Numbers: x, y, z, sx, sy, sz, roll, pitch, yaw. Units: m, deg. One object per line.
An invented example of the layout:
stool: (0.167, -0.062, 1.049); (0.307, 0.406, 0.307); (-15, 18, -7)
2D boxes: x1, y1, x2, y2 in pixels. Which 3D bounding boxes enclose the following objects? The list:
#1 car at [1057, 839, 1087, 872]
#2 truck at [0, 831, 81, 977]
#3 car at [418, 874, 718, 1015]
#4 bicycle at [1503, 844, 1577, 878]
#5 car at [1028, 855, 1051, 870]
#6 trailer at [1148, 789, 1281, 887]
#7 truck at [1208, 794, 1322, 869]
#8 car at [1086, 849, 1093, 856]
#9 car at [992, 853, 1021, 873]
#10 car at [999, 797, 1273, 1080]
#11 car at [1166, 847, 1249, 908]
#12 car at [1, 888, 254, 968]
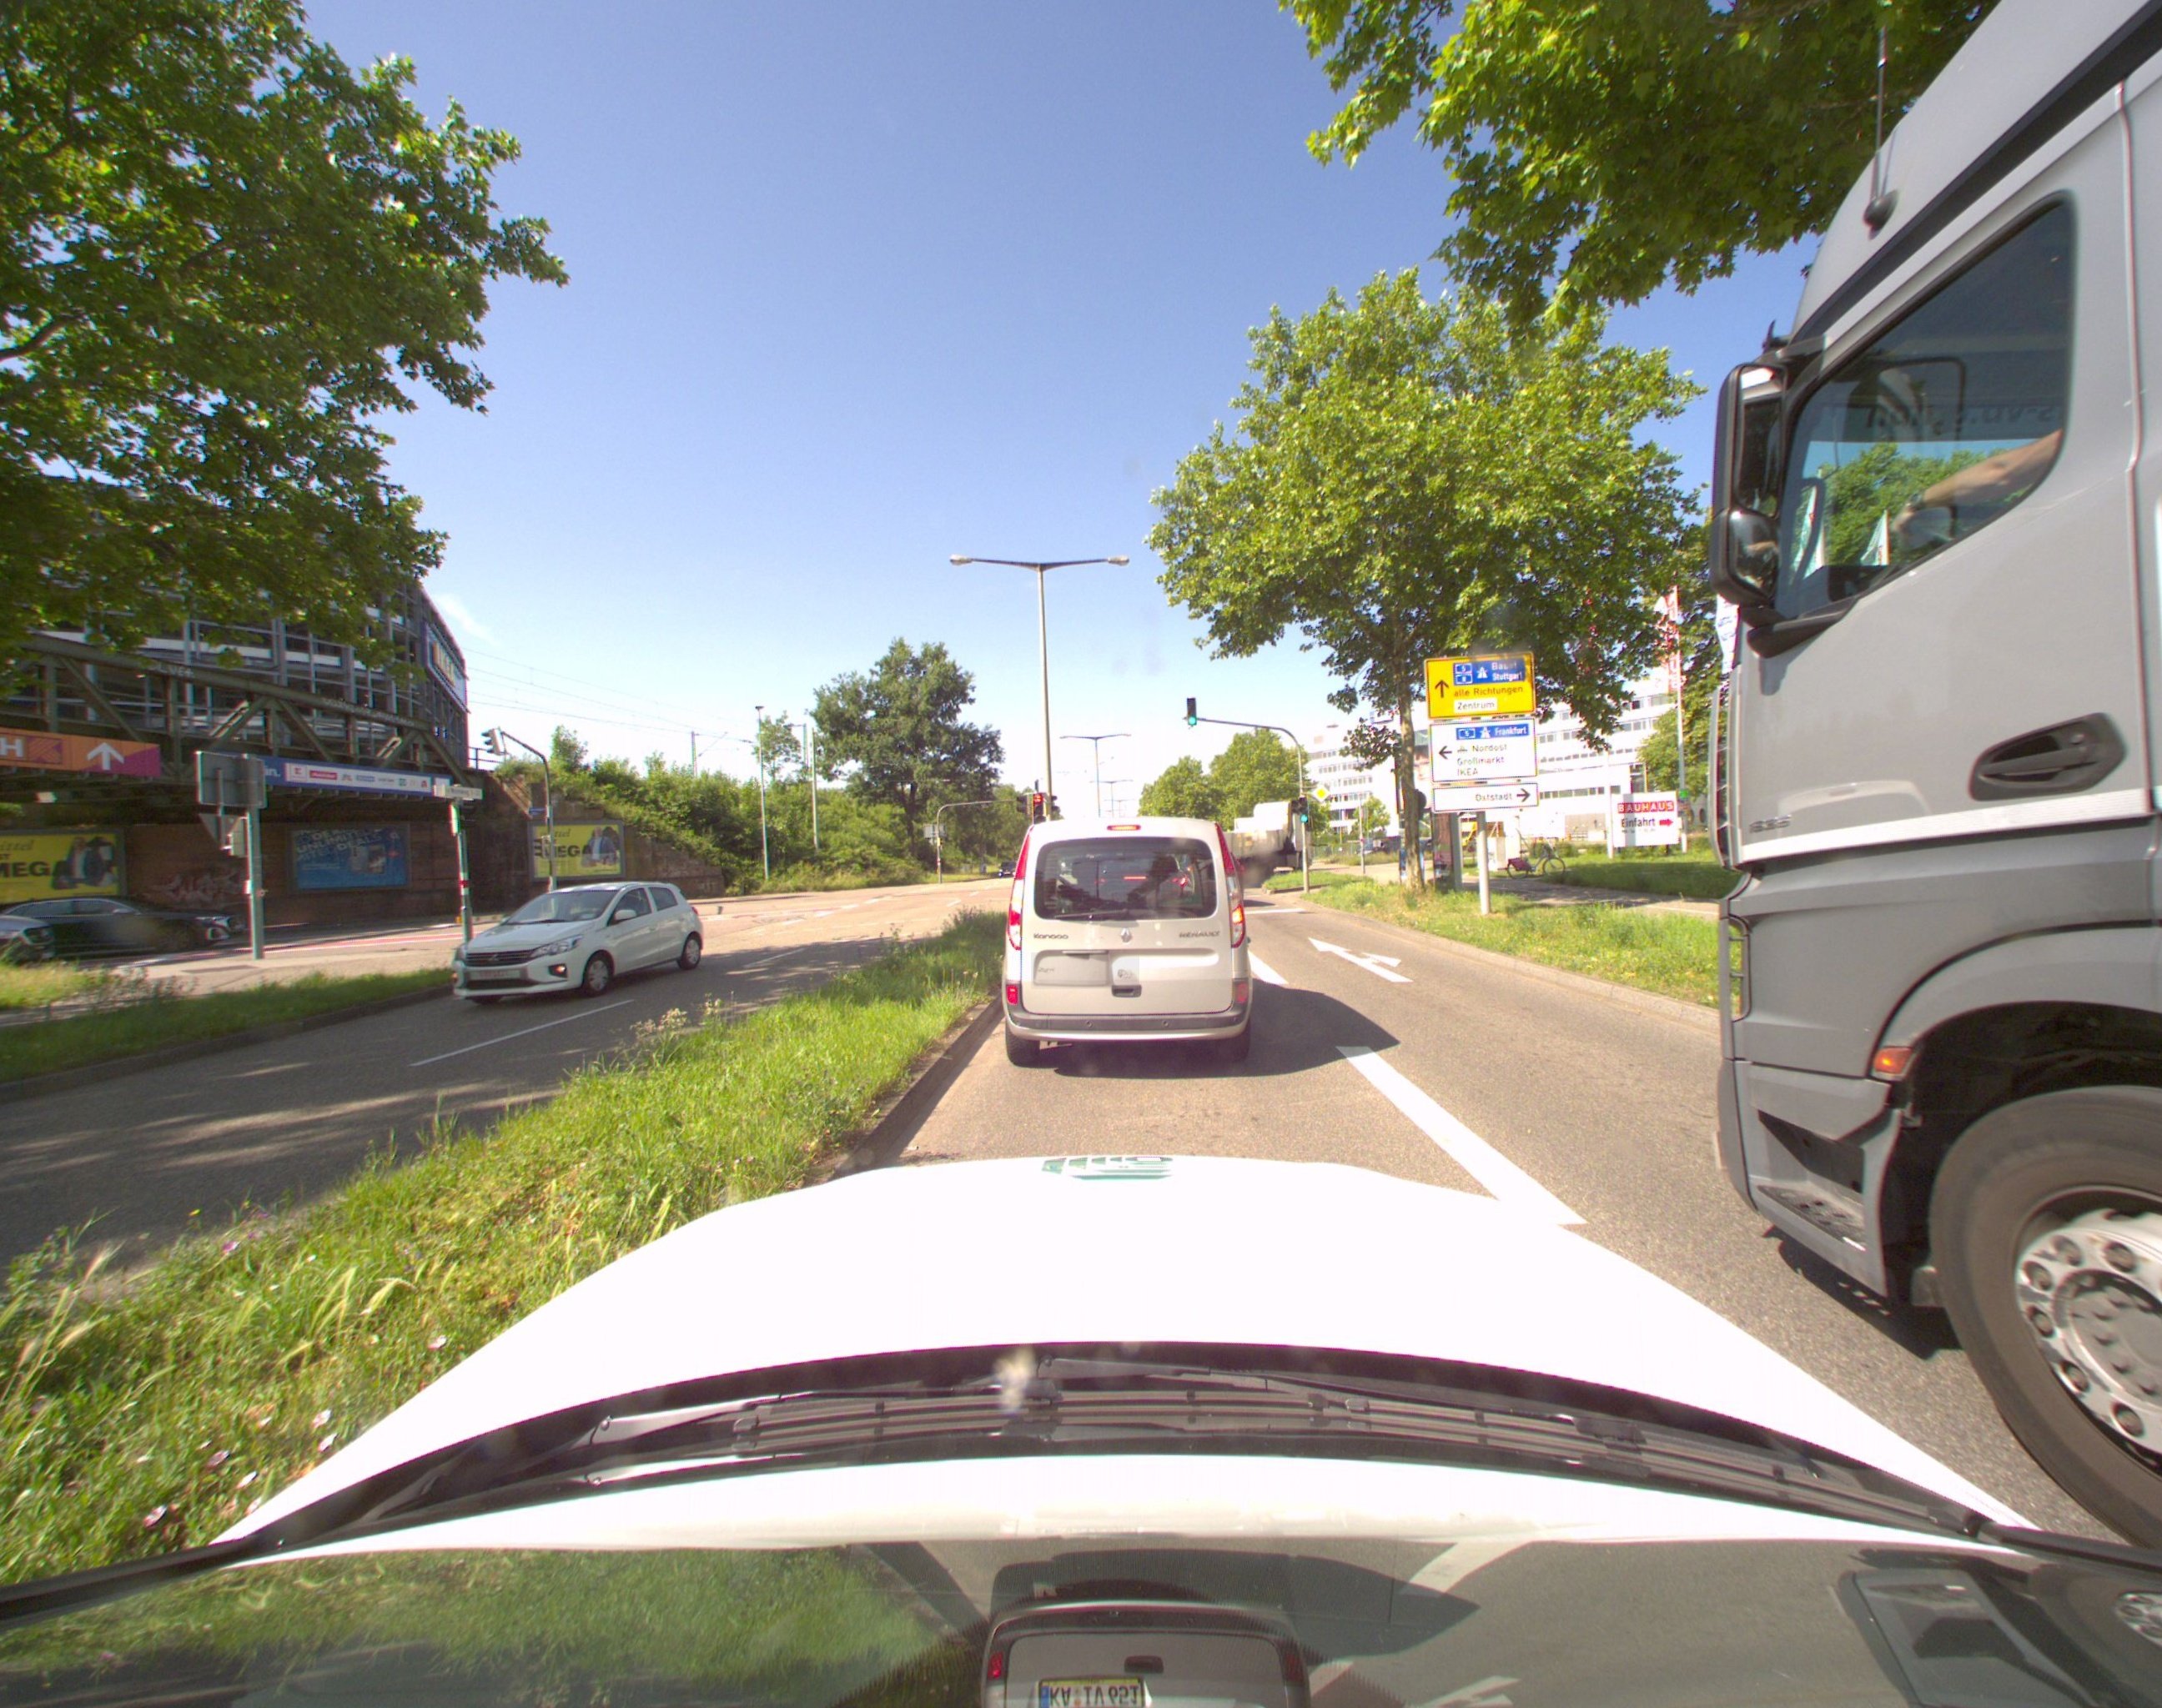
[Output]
car: (-0.730, 0.143, 69.837); (1.984, 2.607, 5.140); (-3, -1, 5)
truck: (-26.326, 1.274, 16.665); (6.890, 3.105, 2.196); (-4, 1, -32)
car: (-7.138, 1.154, 11.918); (1.693, 1.508, 4.002); (-2, 0, 2)
bicycle: (15.043, 0.221, 26.735); (1.985, 1.014, 0.624); (-3, 0, 18)
car: (-4.647, 0.961, 92.583); (1.984, 1.540, 4.241); (-3, -1, 5)
trailer: (6.425, -0.561, 36.510); (2.874, 3.622, 12.755); (-1, -1, 23)
truck: (9.955, -1.072, 43.512); (2.882, 3.643, 7.234); (-1, -1, 40)
car: (2.758, -0.444, 250.409); (1.880, 2.014, 4.004); (0, -1, 4)
car: (-6.492, 0.760, 71.247); (1.902, 1.641, 3.742); (-3, -1, 5)
car: (0.418, 0.568, 7.327); (1.779, 1.838, 4.001); (0, -1, 2)
car: (3.580, 0.636, 23.821); (1.868, 1.591, 4.435); (0, 0, 2)
car: (-25.768, 1.919, 22.253); (4.015, 1.646, 1.885); (-4, 1, -32)
